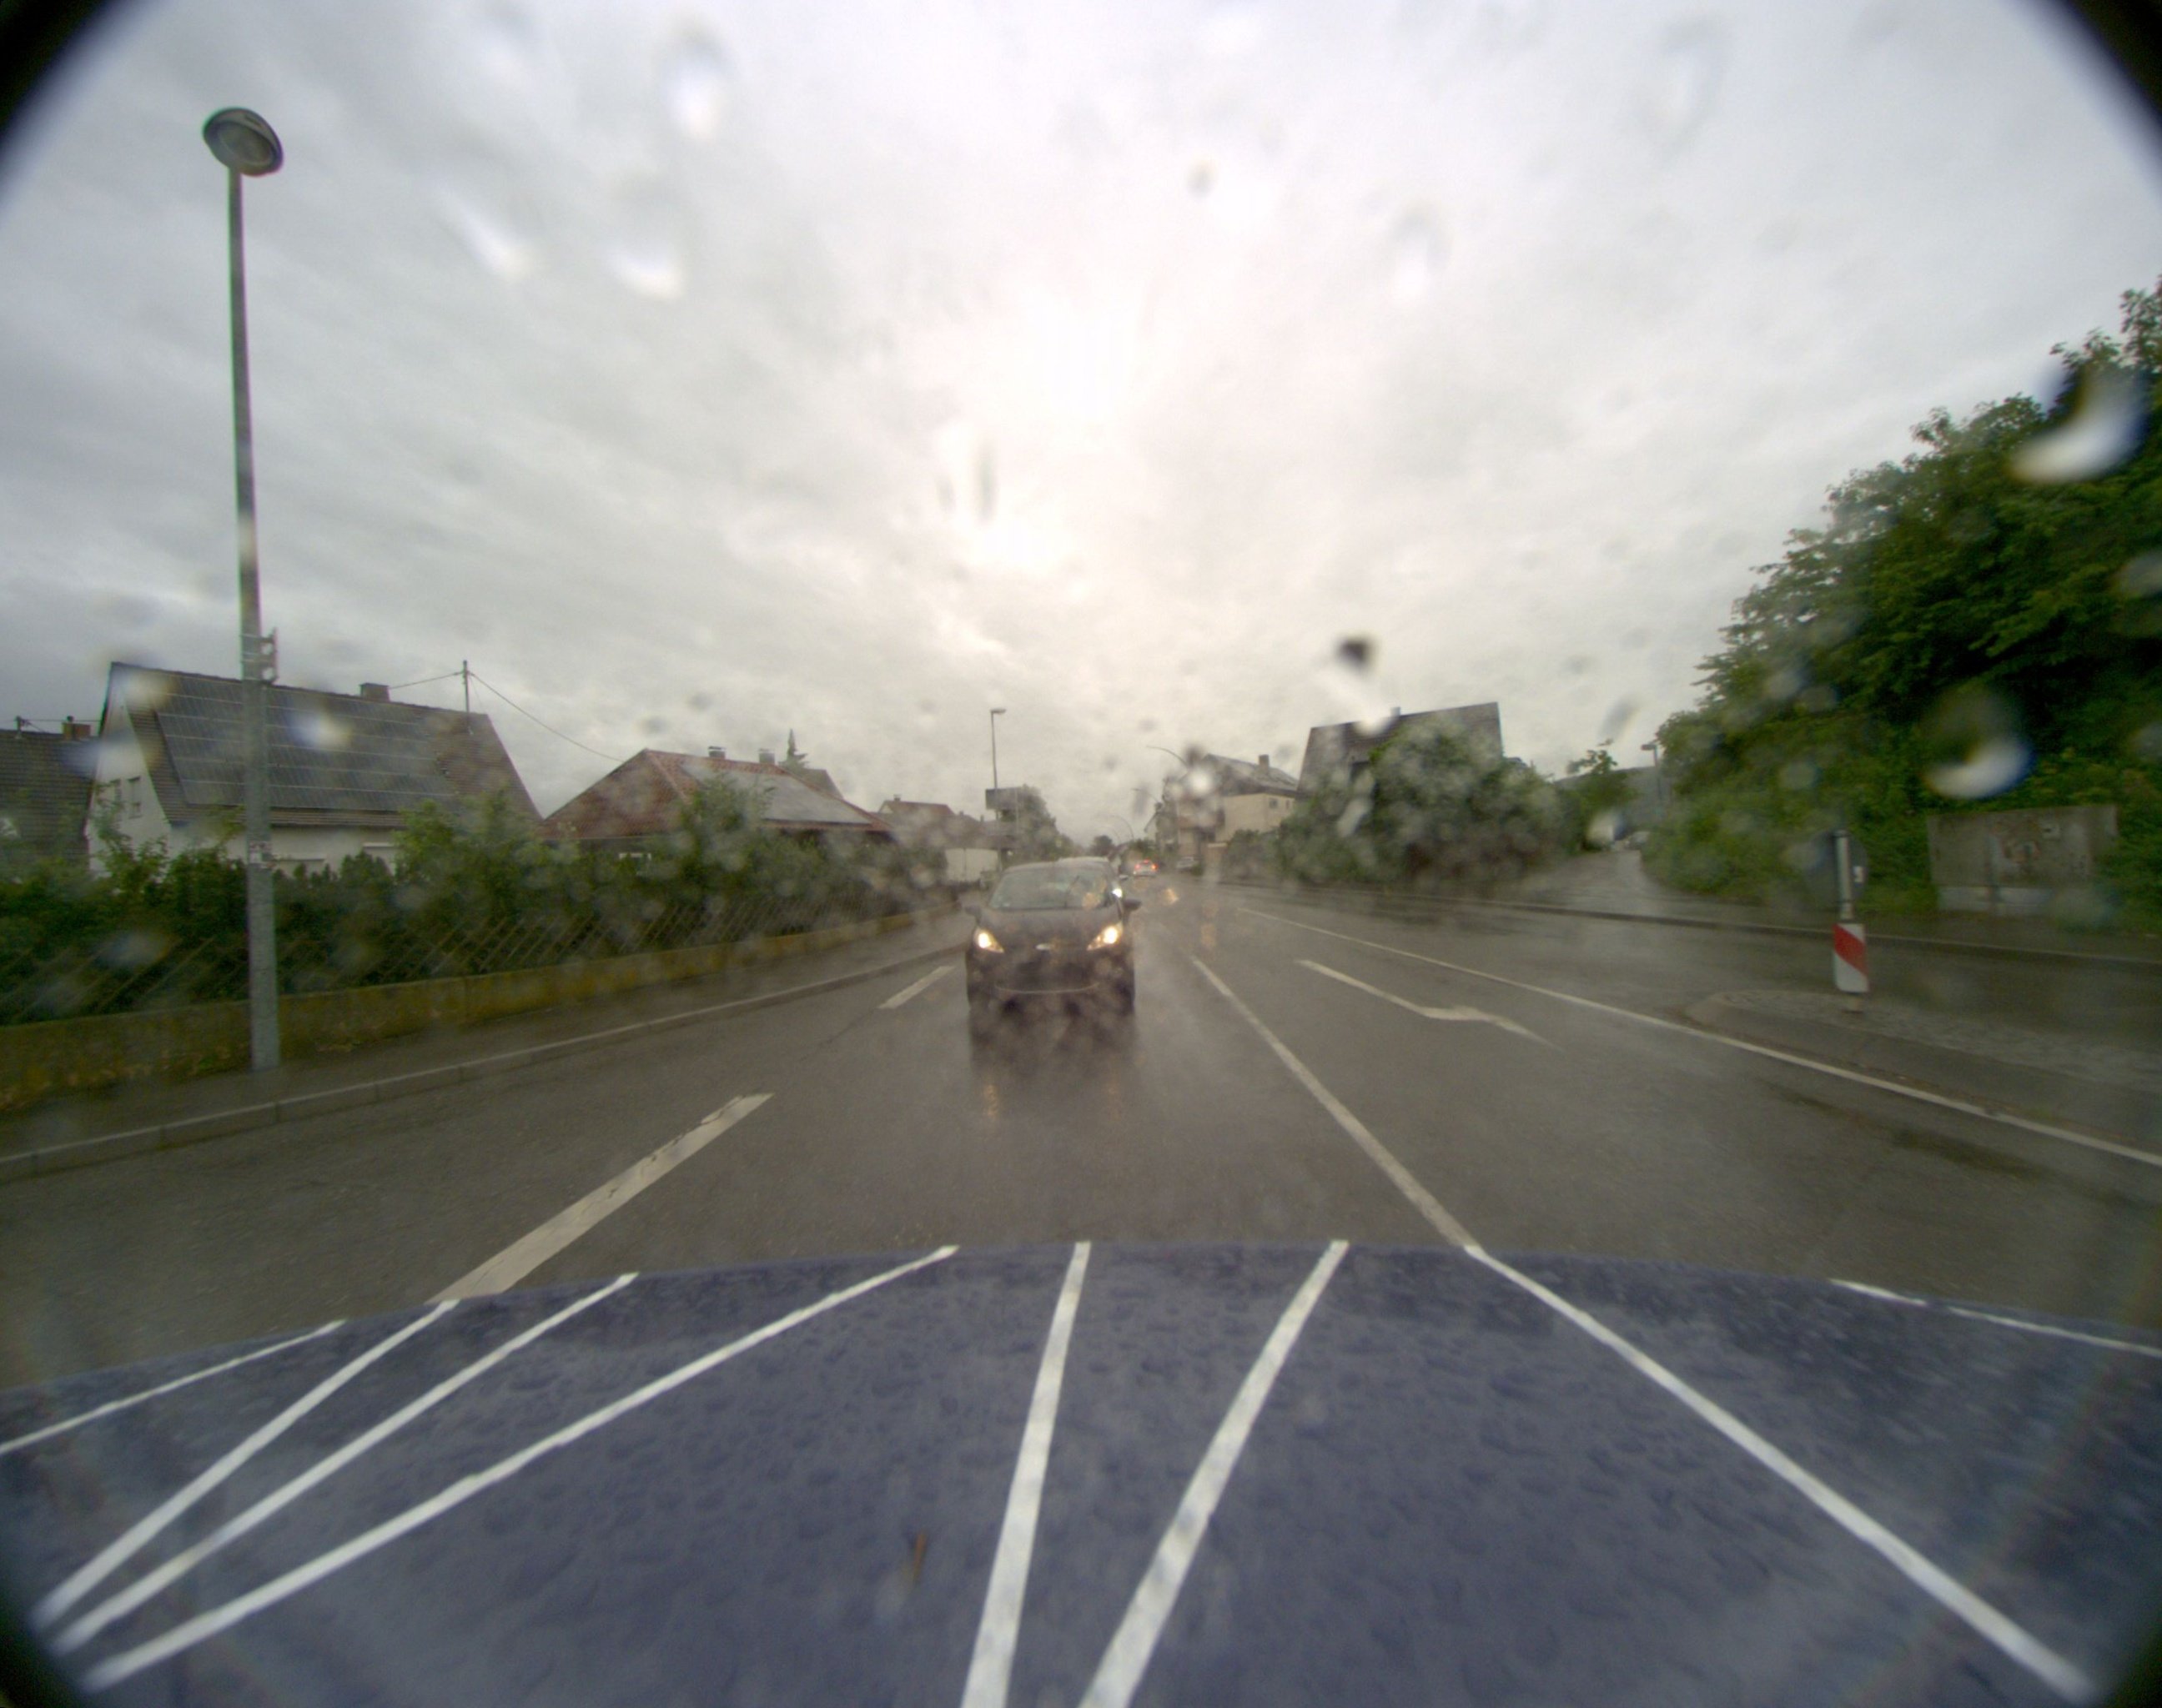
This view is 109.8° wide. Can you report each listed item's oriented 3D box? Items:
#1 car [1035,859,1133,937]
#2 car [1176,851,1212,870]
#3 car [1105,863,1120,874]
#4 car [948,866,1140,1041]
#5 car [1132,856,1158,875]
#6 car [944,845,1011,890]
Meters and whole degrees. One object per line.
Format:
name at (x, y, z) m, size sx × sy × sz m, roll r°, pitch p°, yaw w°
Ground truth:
car at (0.028, 0.894, 17.183) m, size 1.898 × 1.474 × 3.999 m, roll -2°, pitch 0°, yaw -1°
car at (10.565, 0.618, 70.906) m, size 1.661 × 1.538 × 4.007 m, roll -1°, pitch 1°, yaw 36°
car at (4.763, 2.097, 114.145) m, size 1.669 × 1.496 × 4.320 m, roll -3°, pitch 0°, yaw -5°
car at (-0.332, 0.926, 8.778) m, size 1.666 × 1.410 × 3.932 m, roll -3°, pitch 0°, yaw 0°
car at (5.502, 0.986, 65.404) m, size 1.625 × 1.496 × 3.821 m, roll -1°, pitch 0°, yaw -4°
car at (-5.814, 0.702, 43.057) m, size 1.650 × 2.337 × 4.007 m, roll -2°, pitch 1°, yaw 28°
